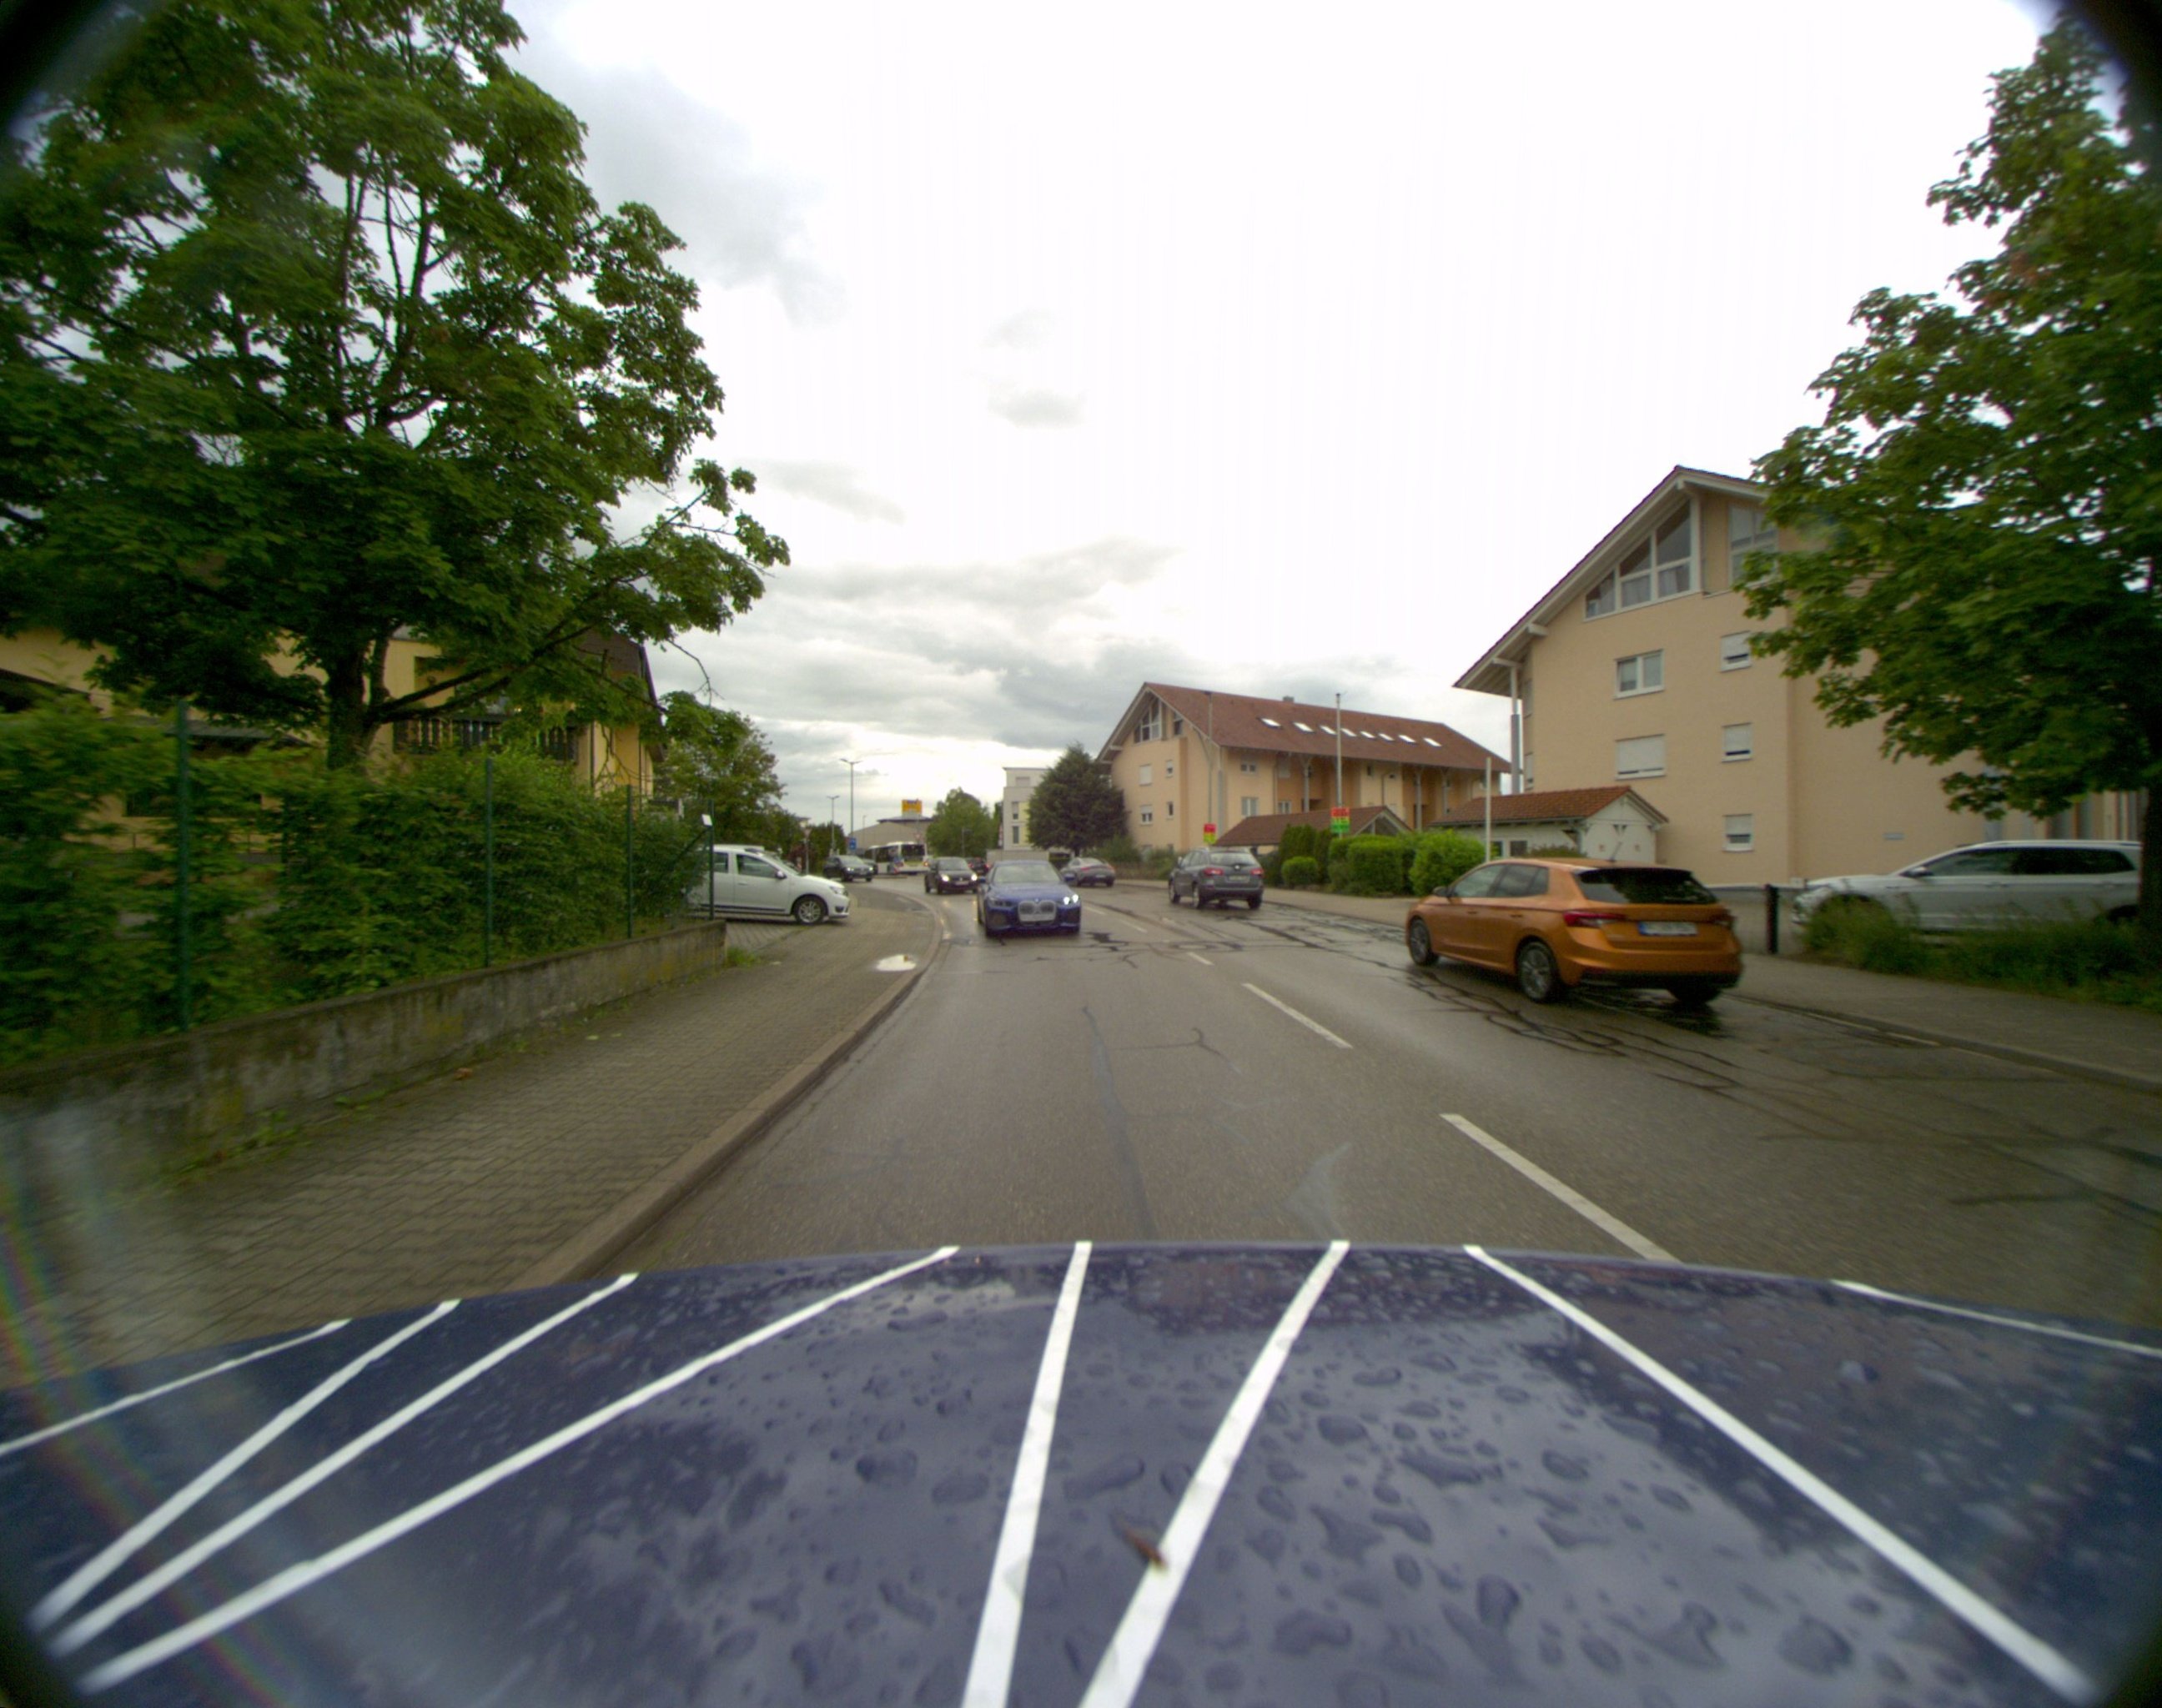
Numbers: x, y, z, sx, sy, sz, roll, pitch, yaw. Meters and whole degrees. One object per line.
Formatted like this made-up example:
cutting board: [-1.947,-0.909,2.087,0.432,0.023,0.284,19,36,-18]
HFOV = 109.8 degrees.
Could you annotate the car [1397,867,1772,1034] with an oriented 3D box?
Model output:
car: [5.215,0.888,8.572,1.690,1.377,3.773,0,1,-1]

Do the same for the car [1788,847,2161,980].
car: [12.997,0.699,10.778,1.741,1.592,3.990,0,1,-31]

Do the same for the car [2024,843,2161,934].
car: [17.200,0.529,11.525,1.519,1.373,3.431,0,1,-31]

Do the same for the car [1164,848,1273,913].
car: [3.810,0.670,21.778,1.884,1.686,3.996,0,1,-8]

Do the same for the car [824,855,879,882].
car: [-14.496,0.888,47.841,1.845,1.541,3.989,-2,1,-41]

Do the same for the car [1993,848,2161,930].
car: [21.727,0.685,15.348,1.741,1.592,3.990,0,1,-31]

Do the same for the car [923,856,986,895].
car: [-5.432,0.855,32.233,1.844,1.440,3.993,-1,1,-21]

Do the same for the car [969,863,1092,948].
car: [-1.229,0.968,16.085,1.915,1.425,4.295,-1,1,-13]

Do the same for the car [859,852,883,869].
car: [-22.433,0.664,81.079,1.544,1.805,3.591,0,1,-32]

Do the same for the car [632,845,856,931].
car: [-6.903,0.708,15.983,4.005,1.550,1.878,4,-1,-20]

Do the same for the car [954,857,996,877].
car: [-7.724,0.926,55.215,1.887,1.328,3.991,0,1,-26]

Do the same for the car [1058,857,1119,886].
car: [0.316,0.813,37.674,1.885,1.328,3.993,0,1,-17]

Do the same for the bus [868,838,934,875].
bus: [-16.732,0.155,69.971,2.792,3.116,10.832,0,1,-30]
